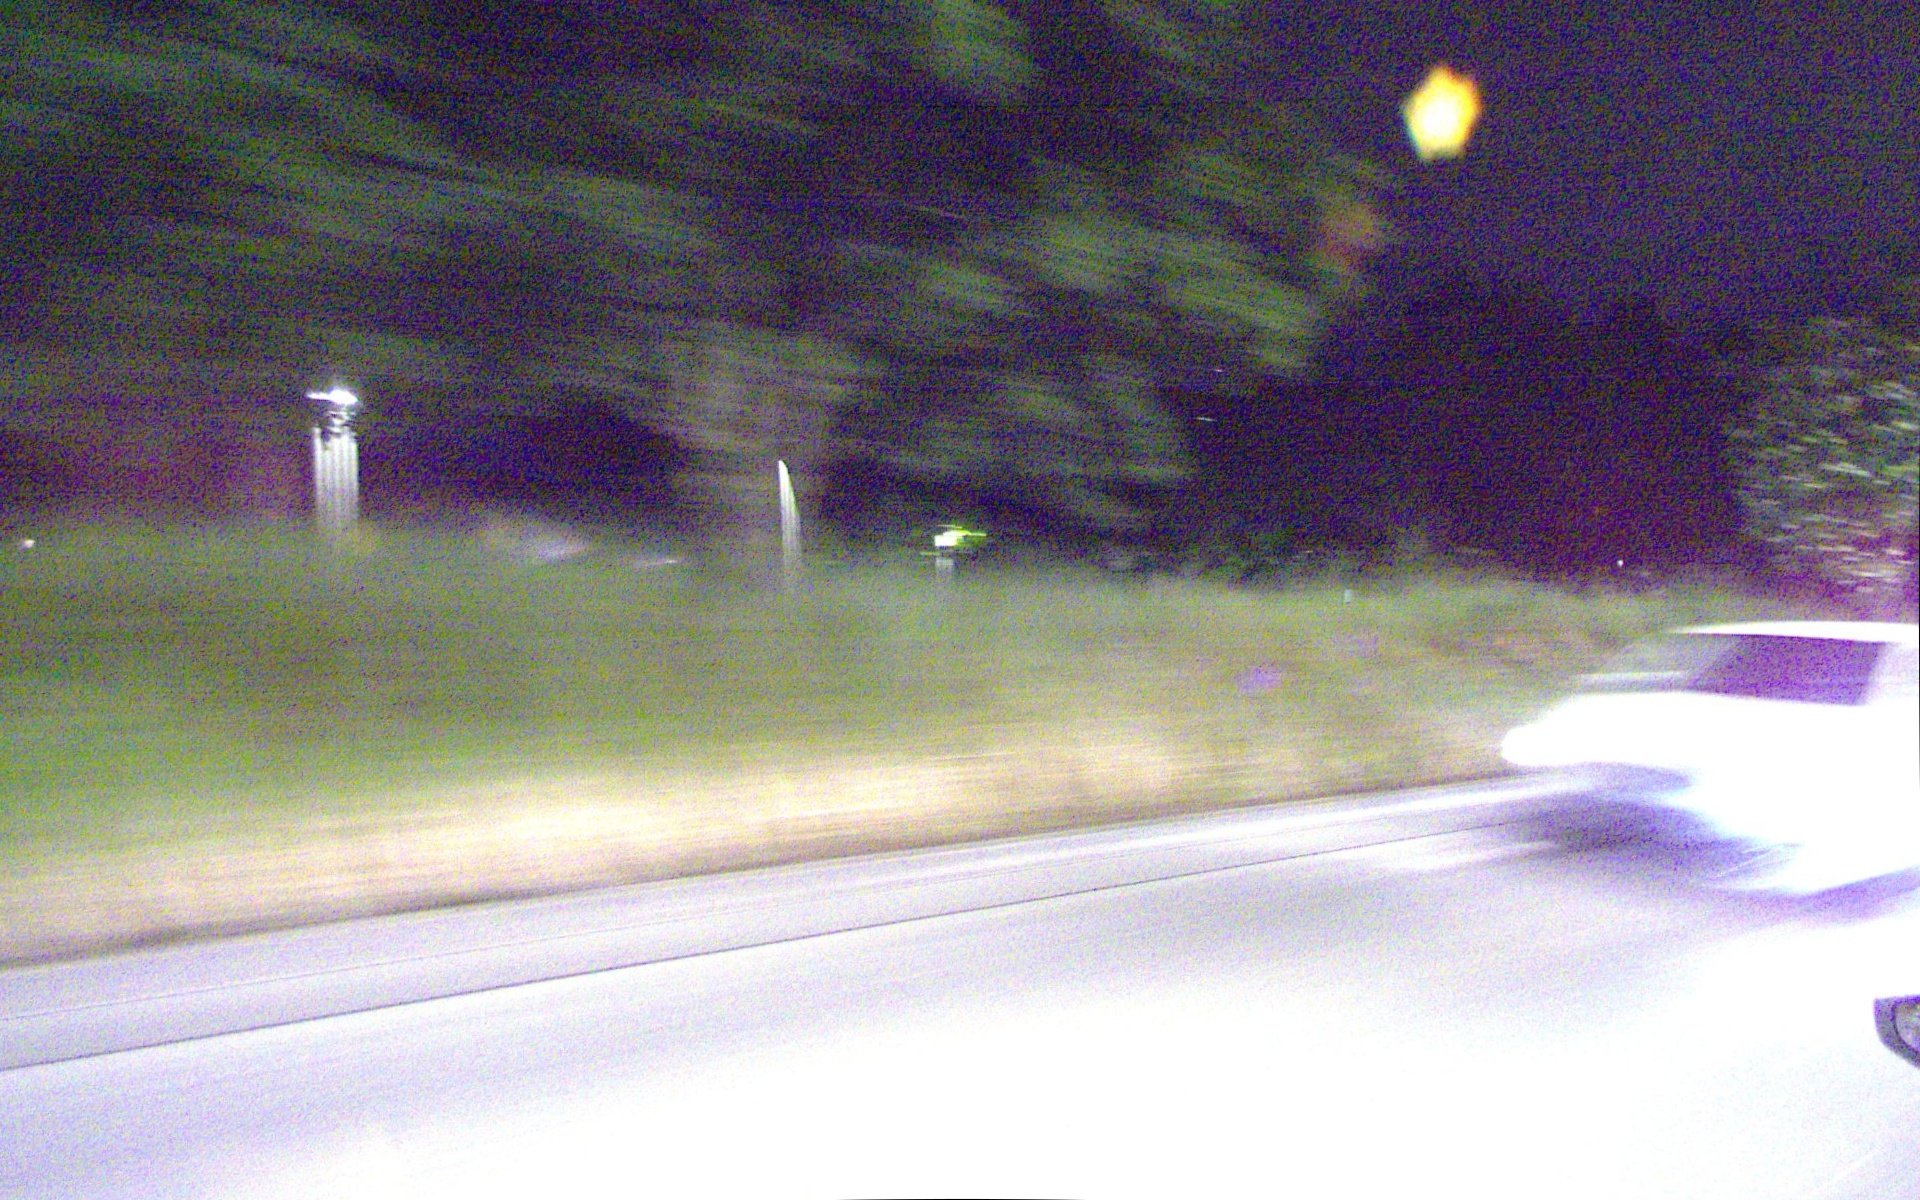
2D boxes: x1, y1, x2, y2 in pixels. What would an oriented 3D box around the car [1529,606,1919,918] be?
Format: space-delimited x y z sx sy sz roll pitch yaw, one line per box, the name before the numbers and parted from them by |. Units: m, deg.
car | 5.681 0.822 6.567 3.954 1.477 1.679 1 0 -31
